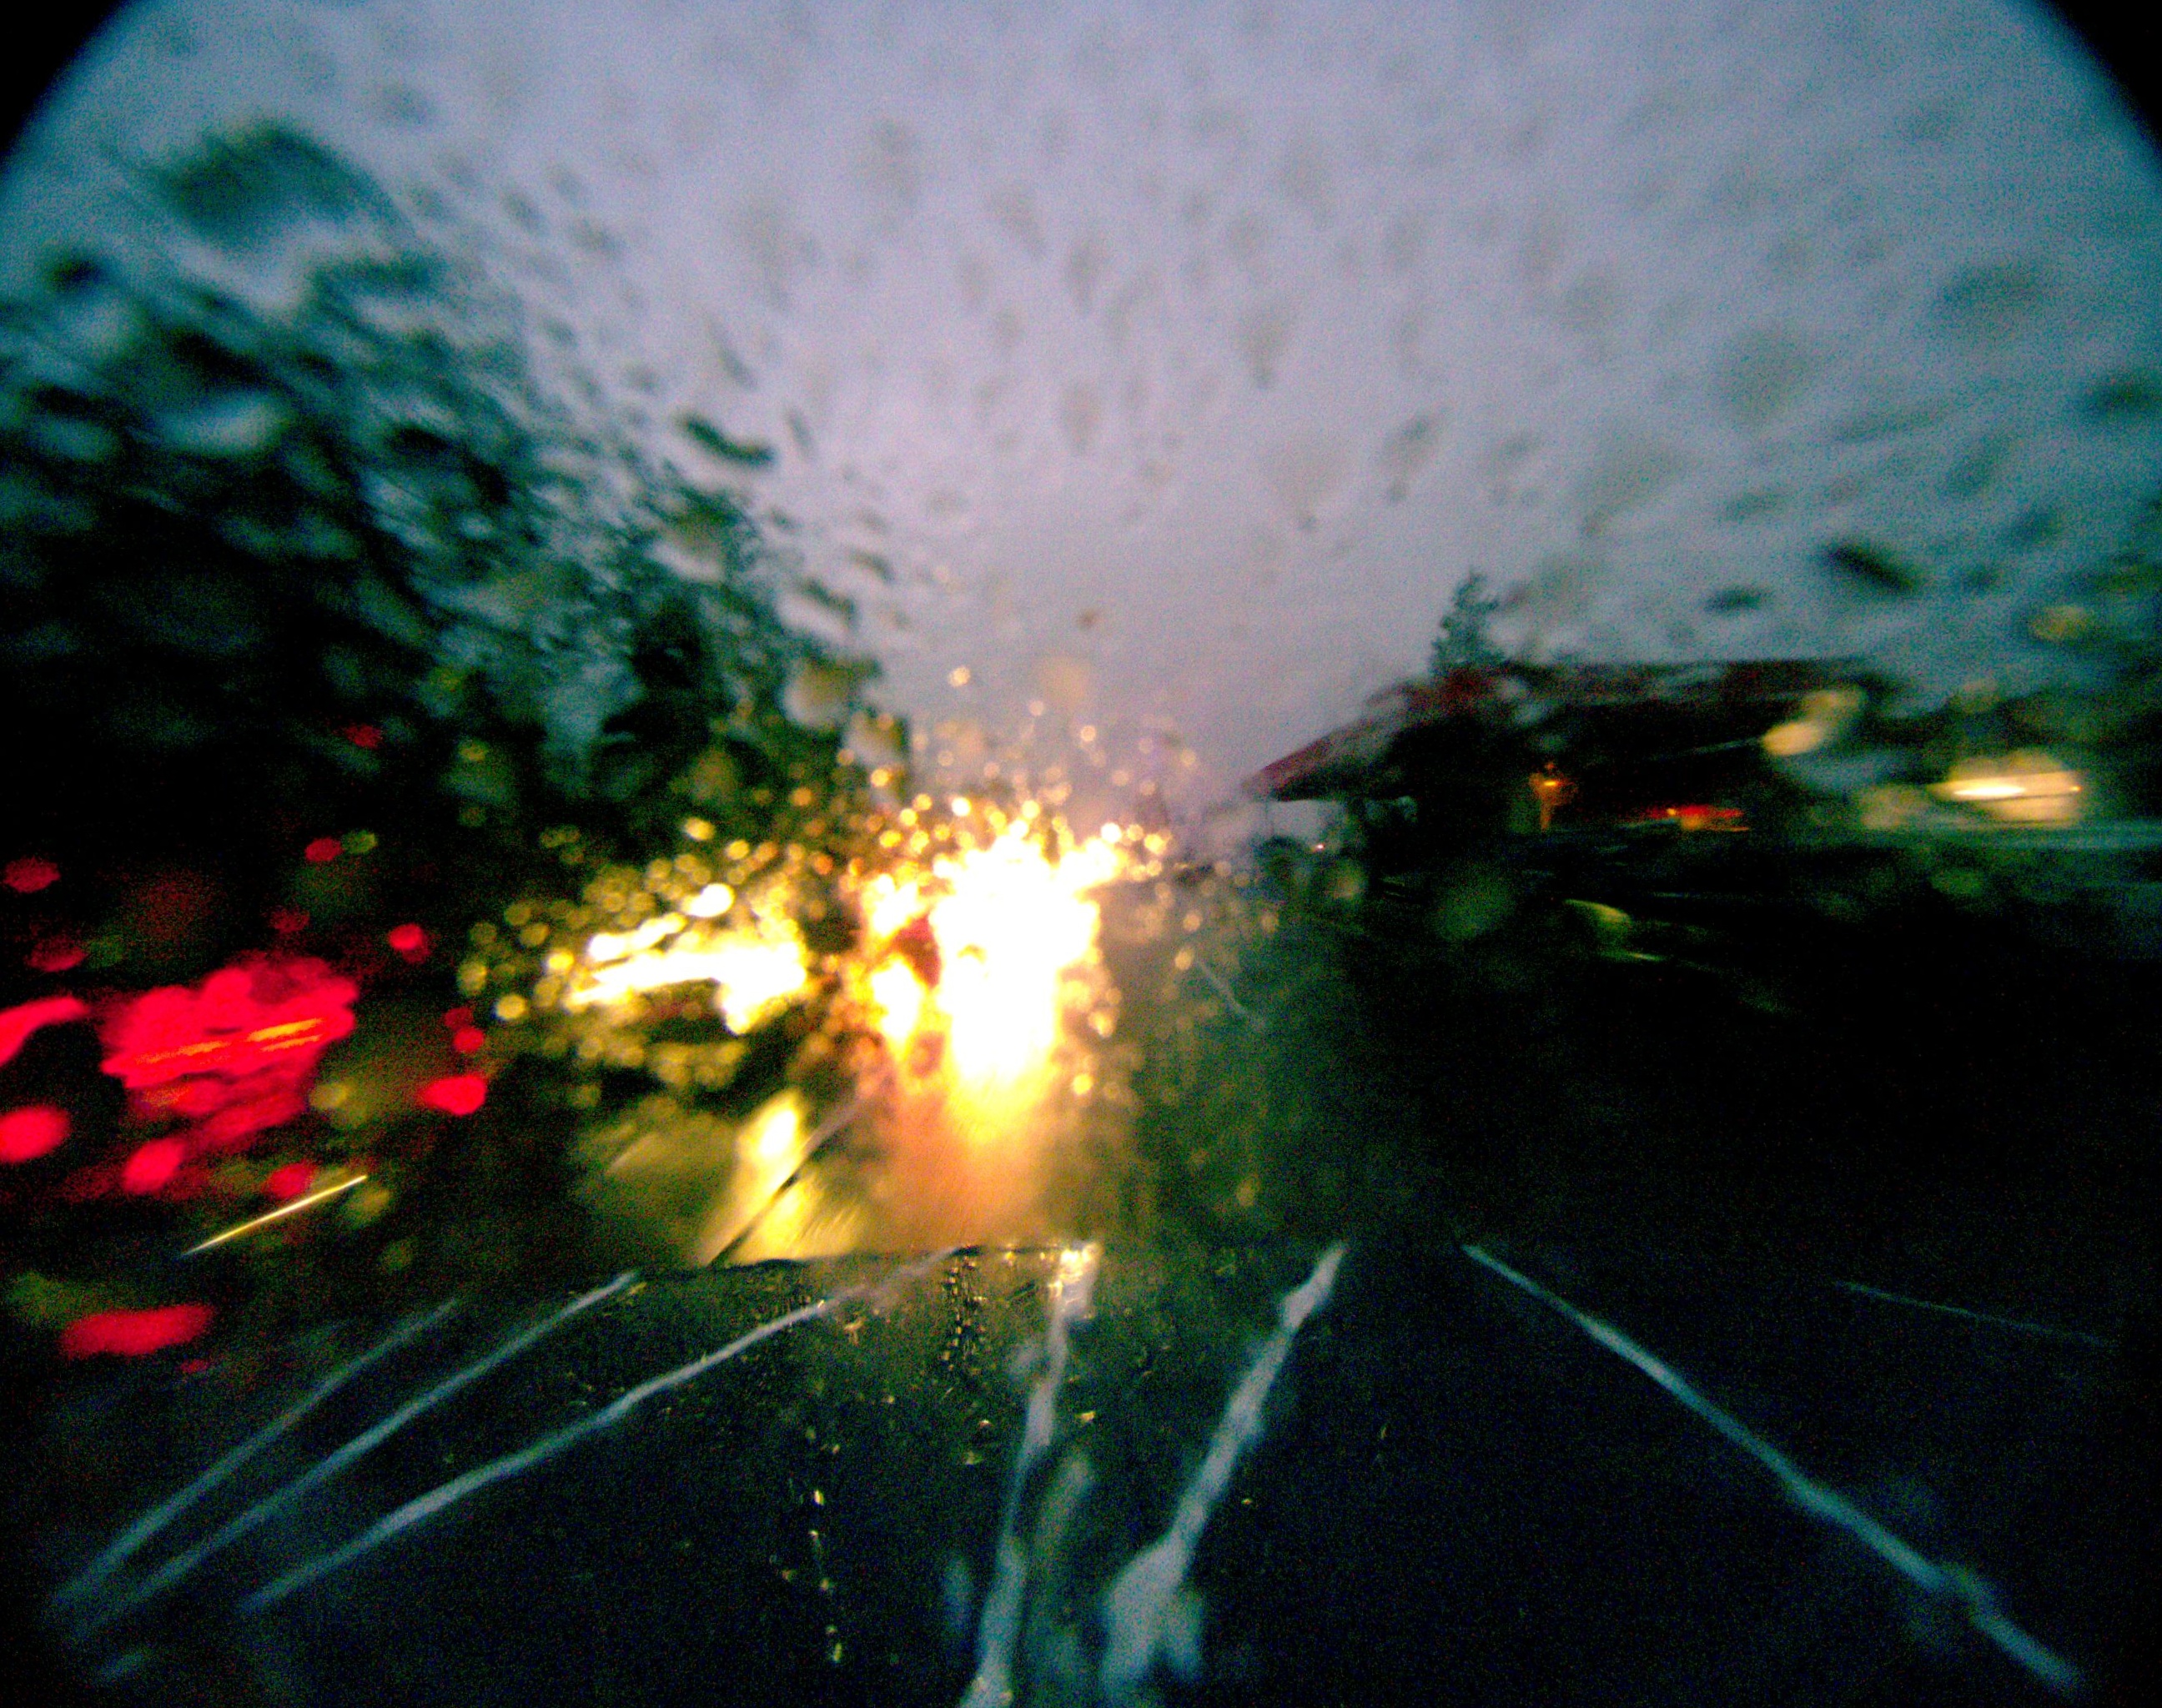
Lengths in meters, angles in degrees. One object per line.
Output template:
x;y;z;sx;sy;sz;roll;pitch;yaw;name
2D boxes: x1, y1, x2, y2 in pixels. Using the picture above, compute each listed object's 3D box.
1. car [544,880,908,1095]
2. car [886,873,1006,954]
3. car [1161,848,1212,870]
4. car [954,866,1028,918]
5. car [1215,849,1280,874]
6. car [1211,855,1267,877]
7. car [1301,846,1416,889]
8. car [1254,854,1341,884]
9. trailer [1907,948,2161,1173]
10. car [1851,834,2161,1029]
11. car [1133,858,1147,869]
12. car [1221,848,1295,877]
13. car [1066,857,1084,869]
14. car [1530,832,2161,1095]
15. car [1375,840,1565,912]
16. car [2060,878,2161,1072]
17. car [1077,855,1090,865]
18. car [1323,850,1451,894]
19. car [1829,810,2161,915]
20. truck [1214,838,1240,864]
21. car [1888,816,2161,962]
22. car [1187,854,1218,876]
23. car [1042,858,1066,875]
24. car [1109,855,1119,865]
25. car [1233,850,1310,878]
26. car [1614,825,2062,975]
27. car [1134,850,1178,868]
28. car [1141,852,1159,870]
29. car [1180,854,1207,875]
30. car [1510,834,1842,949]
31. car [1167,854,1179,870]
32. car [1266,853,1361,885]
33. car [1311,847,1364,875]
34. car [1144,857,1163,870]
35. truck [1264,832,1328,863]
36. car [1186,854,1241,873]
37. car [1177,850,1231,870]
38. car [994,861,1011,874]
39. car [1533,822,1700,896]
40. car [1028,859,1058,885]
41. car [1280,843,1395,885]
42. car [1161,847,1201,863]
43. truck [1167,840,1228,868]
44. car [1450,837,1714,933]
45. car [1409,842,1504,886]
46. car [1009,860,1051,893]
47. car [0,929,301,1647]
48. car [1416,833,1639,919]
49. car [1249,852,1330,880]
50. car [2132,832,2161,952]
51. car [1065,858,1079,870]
-3.231;1.105;8.004;1.706;1.463;4.272;-2;0;1;car
-2.682;1.148;16.067;1.657;1.328;4.272;-2;0;1;car
13.239;0.676;95.266;6.047;2.623;2.196;-1;0;-1;car
-2.775;1.136;24.380;1.645;1.358;4.769;-2;0;1;car
11.440;0.510;52.367;4.056;1.640;1.942;-1;0;3;car
11.836;0.886;57.110;3.782;1.451;1.776;-3;0;-2;car
10.928;0.528;30.124;3.868;1.550;1.840;-2;0;0;car
10.826;0.734;38.194;3.868;1.338;1.840;-2;0;0;car
6.654;1.155;2.183;1.998;1.033;6.104;0;0;1;trailer
11.331;0.675;8.010;4.287;1.618;2.000;-4;0;1;car
7.777;1.223;100.134;1.655;1.411;3.744;-1;-2;1;car
10.710;0.540;46.188;4.041;1.545;1.824;-3;-1;0;car
-0.797;1.140;96.778;2.016;1.484;3.999;-1;0;-4;car
6.735;0.766;7.523;1.975;1.820;4.513;0;0;1;car
10.902;0.589;21.558;4.287;1.653;2.000;-4;0;1;car
10.107;0.867;5.423;3.903;1.420;1.719;-2;0;2;car
0.375;0.943;121.347;1.890;1.618;4.000;-2;0;-1;car
11.021;0.623;27.539;3.868;1.433;1.840;-2;0;0;car
17.802;0.136;14.924;1.943;1.653;4.291;-4;0;1;car
19.888;-0.390;103.845;2.036;3.434;5.851;1;0;-3;truck
15.067;0.433;11.247;1.998;1.893;4.000;-1;0;0;car
8.306;0.706;52.123;1.686;1.412;3.741;-1;0;3;car
-2.477;1.121;68.697;2.016;1.484;3.999;-2;0;-4;car
5.492;1.016;126.440;1.607;1.525;4.000;0;0;0;car
10.910;0.585;43.681;3.868;1.401;1.944;-3;0;0;car
10.504;0.600;10.845;4.287;1.653;2.000;-4;0;1;car
10.750;0.699;109.870;6.171;2.616;2.176;0;0;1;car
8.026;0.773;88.132;1.839;2.001;4.485;-1;0;3;car
8.279;0.763;56.022;1.522;1.534;3.015;0;0;1;car
10.612;0.636;13.860;4.287;1.653;2.137;-4;0;1;car
9.508;0.825;78.534;1.174;1.634;2.872;-1;0;9;car
10.826;0.681;35.577;3.868;1.338;1.840;-2;0;0;car
15.173;0.420;45.150;1.872;1.545;4.045;-3;-1;2;car
7.866;1.027;82.362;1.574;1.314;4.255;0;2;-1;car
32.303;-0.952;114.196;8.714;4.236;3.004;-3;1;-10;truck
11.183;0.806;64.494;4.346;1.489;1.826;-2;0;1;car
11.234;0.556;69.547;4.547;1.667;2.010;-2;0;-3;car
-9.169;1.538;88.758;1.576;1.388;4.169;0;0;0;car
14.893;0.113;21.445;1.891;1.858;4.000;-1;0;0;car
-2.378;1.138;48.671;1.569;1.520;4.007;-2;0;1;car
11.031;0.432;32.859;4.291;1.647;1.980;-2;0;0;car
13.804;0.144;105.076;5.158;2.137;2.059;0;0;1;car
13.943;-0.014;91.390;6.876;3.123;2.334;-1;0;-1;truck
10.656;0.630;16.429;4.287;1.653;2.000;-4;0;1;car
15.398;0.395;31.387;1.893;1.647;4.148;-2;0;1;car
-2.558;1.108;39.004;1.712;1.566;4.464;-1;0;1;car
-3.413;1.056;0.114;1.841;1.559;4.503;-2;0;1;car
10.998;0.531;18.952;4.287;1.753;2.000;-4;0;1;car
11.218;0.622;41.130;3.868;1.397;1.840;-2;0;0;car
17.744;0.584;10.106;1.998;1.858;4.000;-1;0;0;car
-1.294;1.433;108.992;1.889;1.618;4.000;-2;0;1;car
